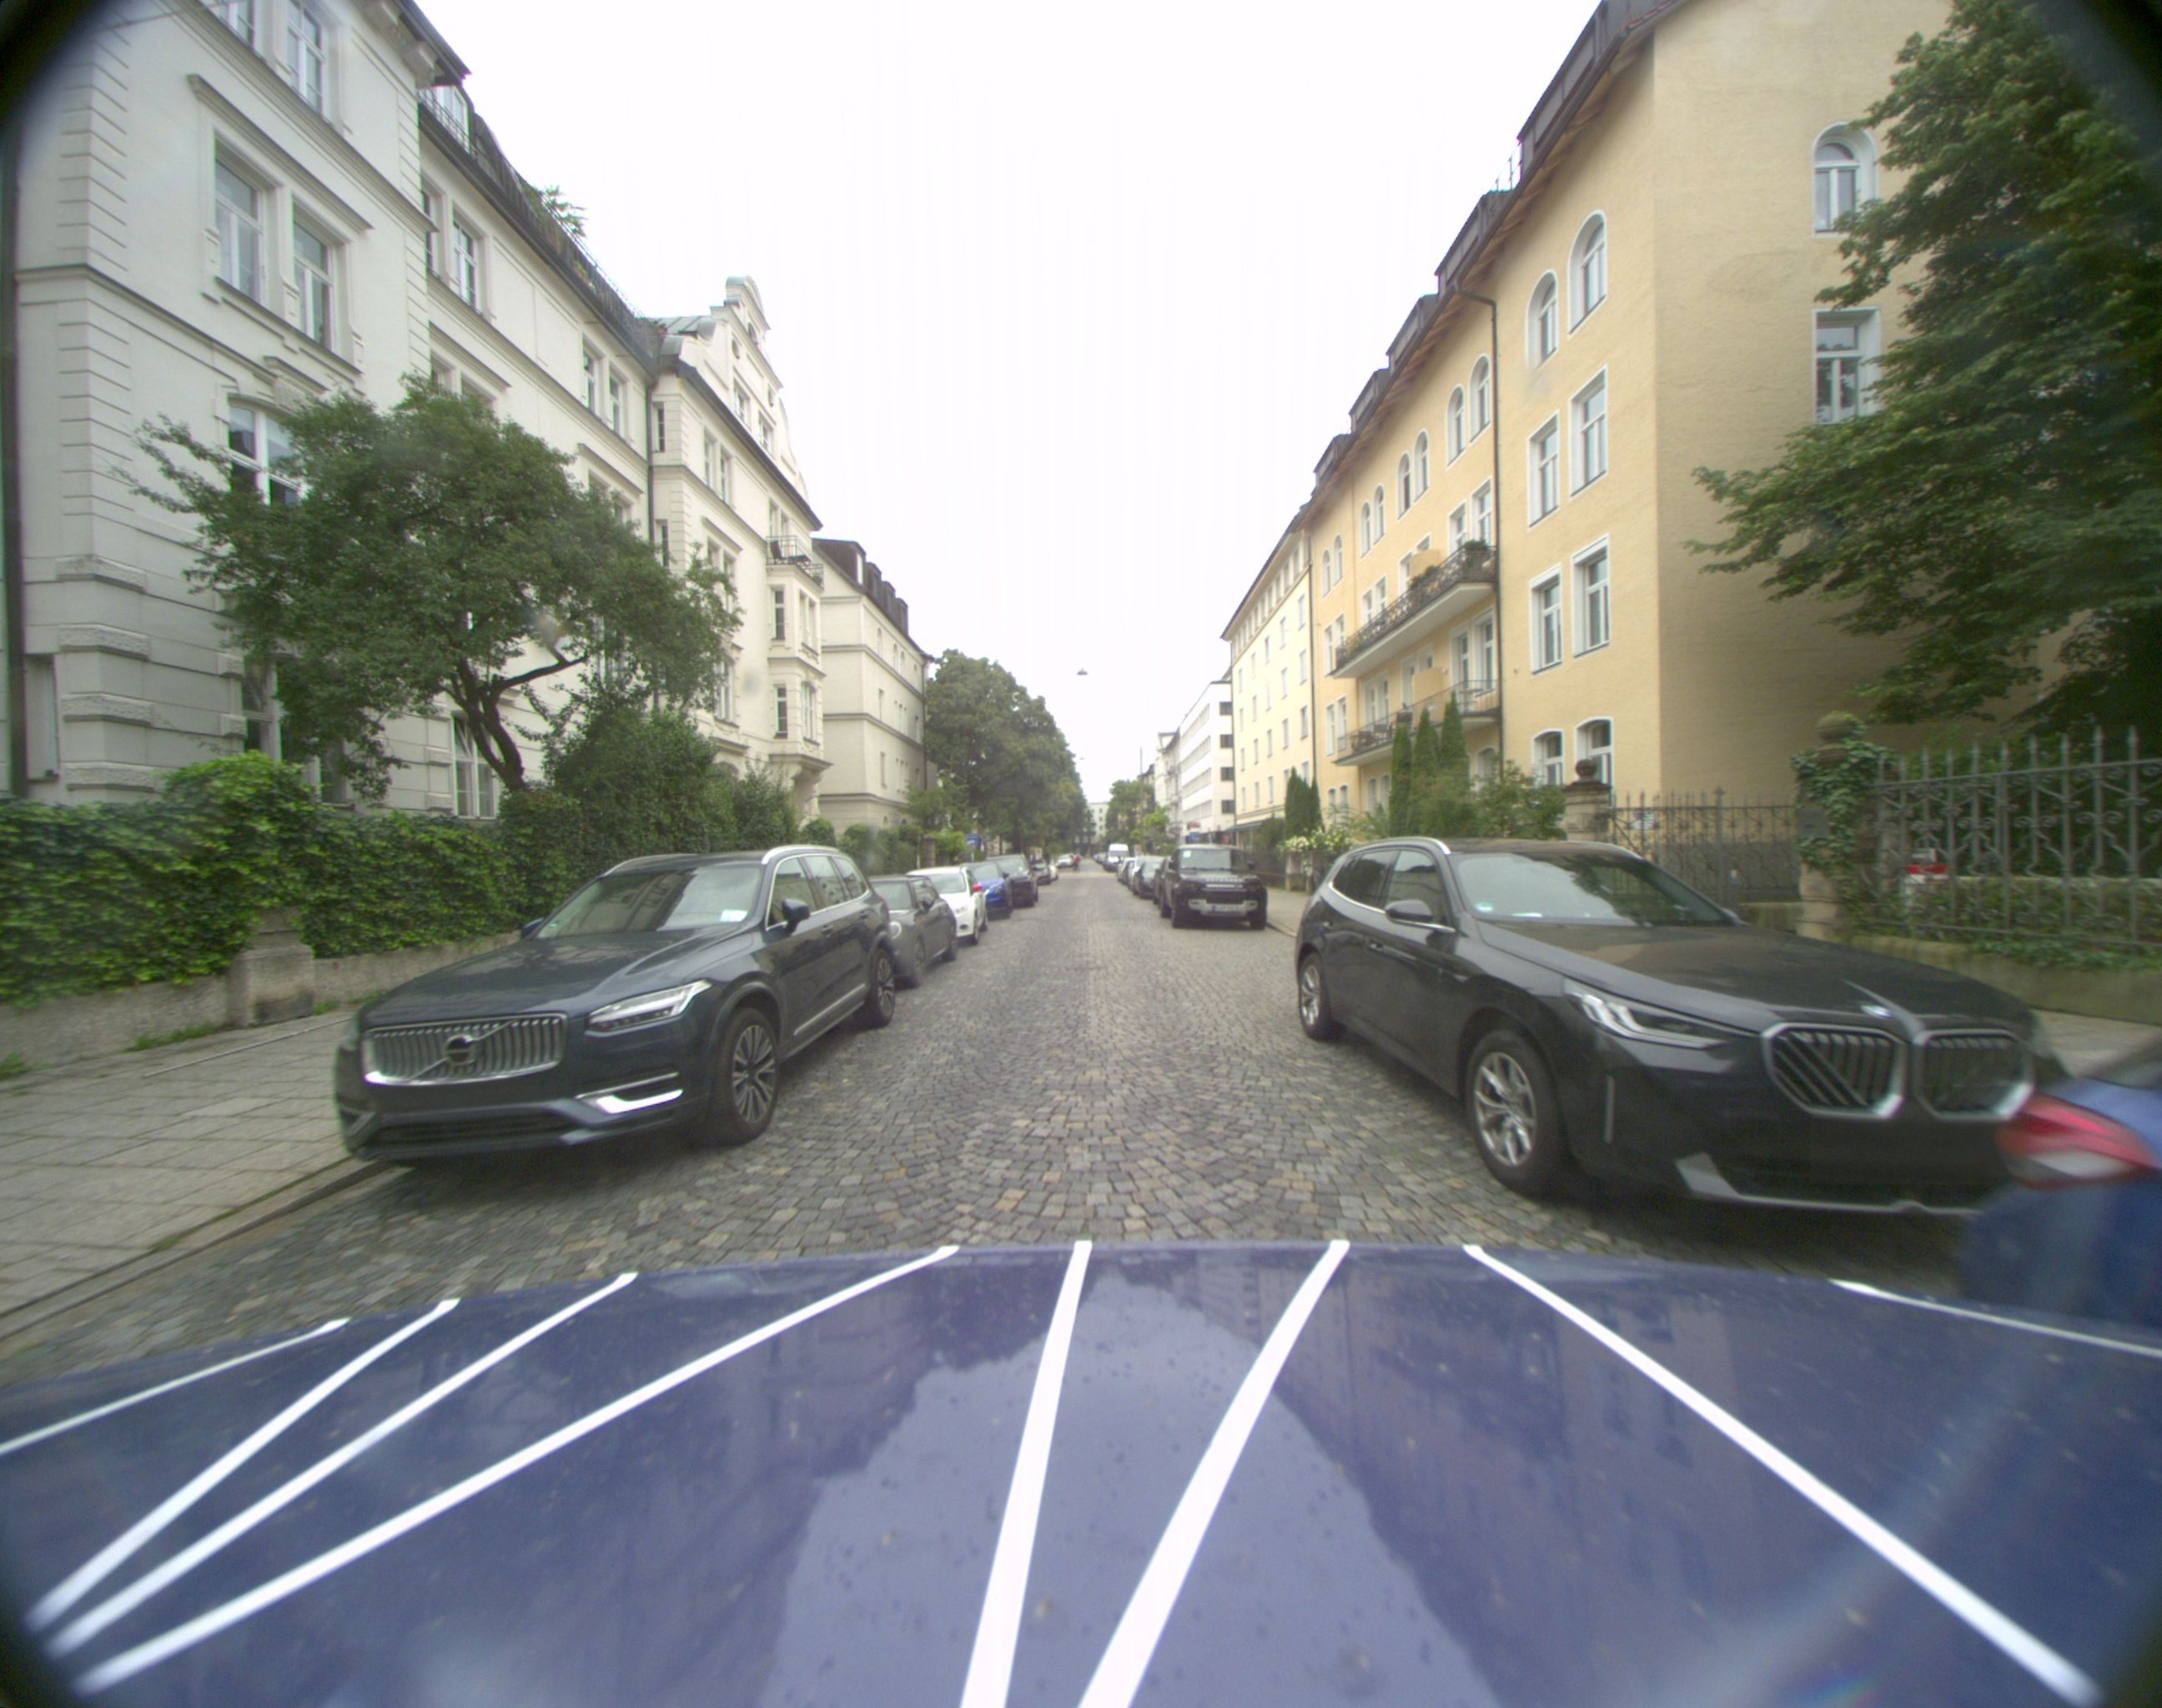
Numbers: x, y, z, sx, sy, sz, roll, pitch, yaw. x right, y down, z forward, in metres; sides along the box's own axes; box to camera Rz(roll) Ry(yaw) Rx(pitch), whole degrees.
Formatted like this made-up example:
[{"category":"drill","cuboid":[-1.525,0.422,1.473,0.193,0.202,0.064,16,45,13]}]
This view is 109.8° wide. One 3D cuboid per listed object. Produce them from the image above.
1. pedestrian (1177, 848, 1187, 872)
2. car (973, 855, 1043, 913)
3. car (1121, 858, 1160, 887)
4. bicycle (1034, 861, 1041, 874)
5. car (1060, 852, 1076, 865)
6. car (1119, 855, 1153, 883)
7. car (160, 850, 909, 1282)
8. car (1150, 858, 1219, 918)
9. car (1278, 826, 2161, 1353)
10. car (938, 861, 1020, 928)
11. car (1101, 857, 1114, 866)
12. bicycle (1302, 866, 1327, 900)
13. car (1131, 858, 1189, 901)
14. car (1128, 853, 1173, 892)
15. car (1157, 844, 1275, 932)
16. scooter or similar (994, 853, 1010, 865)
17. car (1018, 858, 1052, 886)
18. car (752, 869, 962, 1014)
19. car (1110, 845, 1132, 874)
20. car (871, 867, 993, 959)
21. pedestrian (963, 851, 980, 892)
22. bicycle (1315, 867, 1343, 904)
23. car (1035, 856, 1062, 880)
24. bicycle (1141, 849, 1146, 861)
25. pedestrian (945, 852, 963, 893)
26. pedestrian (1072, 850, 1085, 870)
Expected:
[{"category":"pedestrian","cuboid":[8.023,0.466,60.318,0.615,1.830,0.813,-2,1,-6]},{"category":"car","cuboid":[-2.411,0.944,26.452,1.880,1.663,5.490,-2,1,0]},{"category":"car","cuboid":[3.234,0.990,42.058,1.778,1.351,4.390,-2,1,1]},{"category":"bicycle","cuboid":[-4.251,1.314,74.207,0.389,1.140,1.590,-1,1,8]},{"category":"car","cuboid":[-1.694,0.575,100.562,1.925,1.676,4.633,-1,1,1]},{"category":"car","cuboid":[3.325,0.893,46.760,1.778,1.527,4.540,-2,1,1]},{"category":"car","cuboid":[-2.868,0.889,5.699,1.968,1.749,4.953,-2,1,0]},{"category":"car","cuboid":[3.064,0.950,23.079,1.583,1.581,4.055,1,1,1]},{"category":"car","cuboid":[2.708,0.762,4.725,1.778,1.708,4.390,-2,1,0]},{"category":"car","cuboid":[-2.717,1.024,21.055,1.713,1.473,4.248,-4,1,-2]},{"category":"car","cuboid":[4.397,1.170,125.542,1.886,1.410,4.809,-2,0,0]},{"category":"bicycle","cuboid":[7.416,0.904,24.187,0.353,0.997,1.573,-2,1,2]},{"category":"car","cuboid":[2.963,0.913,29.339,1.778,1.421,4.390,-2,1,1]},{"category":"car","cuboid":[3.190,0.823,35.641,1.778,1.638,4.391,-2,1,2]},{"category":"car","cuboid":[2.966,0.688,17.764,1.987,1.727,4.723,-2,0,2]},{"category":"scooter or similar","cuboid":[-7.866,0.501,75.625,1.604,1.166,0.405,0,2,24]},{"category":"car","cuboid":[-2.713,1.056,45.736,1.652,1.414,4.631,-5,1,0]},{"category":"car","cuboid":[-2.871,1.043,10.665,1.687,1.444,3.965,-3,1,0]},{"category":"car","cuboid":[3.721,0.447,71.732,1.981,2.559,5.794,0,1,3]},{"category":"car","cuboid":[-2.847,1.056,15.419,1.778,1.421,4.389,-2,1,-3]},{"category":"pedestrian","cuboid":[-5.036,0.801,34.967,0.577,1.839,0.682,-2,1,8]},{"category":"bicycle","cuboid":[7.333,0.926,22.514,0.353,0.997,1.573,-2,1,2]},{"category":"car","cuboid":[-2.191,0.921,52.263,1.505,1.462,3.795,-1,1,2]},{"category":"bicycle","cuboid":[5.751,0.104,70.225,0.256,1.120,1.806,-2,1,0]},{"category":"pedestrian","cuboid":[-5.824,0.837,34.841,0.631,1.798,0.659,-2,1,-22]},{"category":"pedestrian","cuboid":[-0.222,0.533,69.809,1.105,1.768,1.263,-2,1,1]}]
